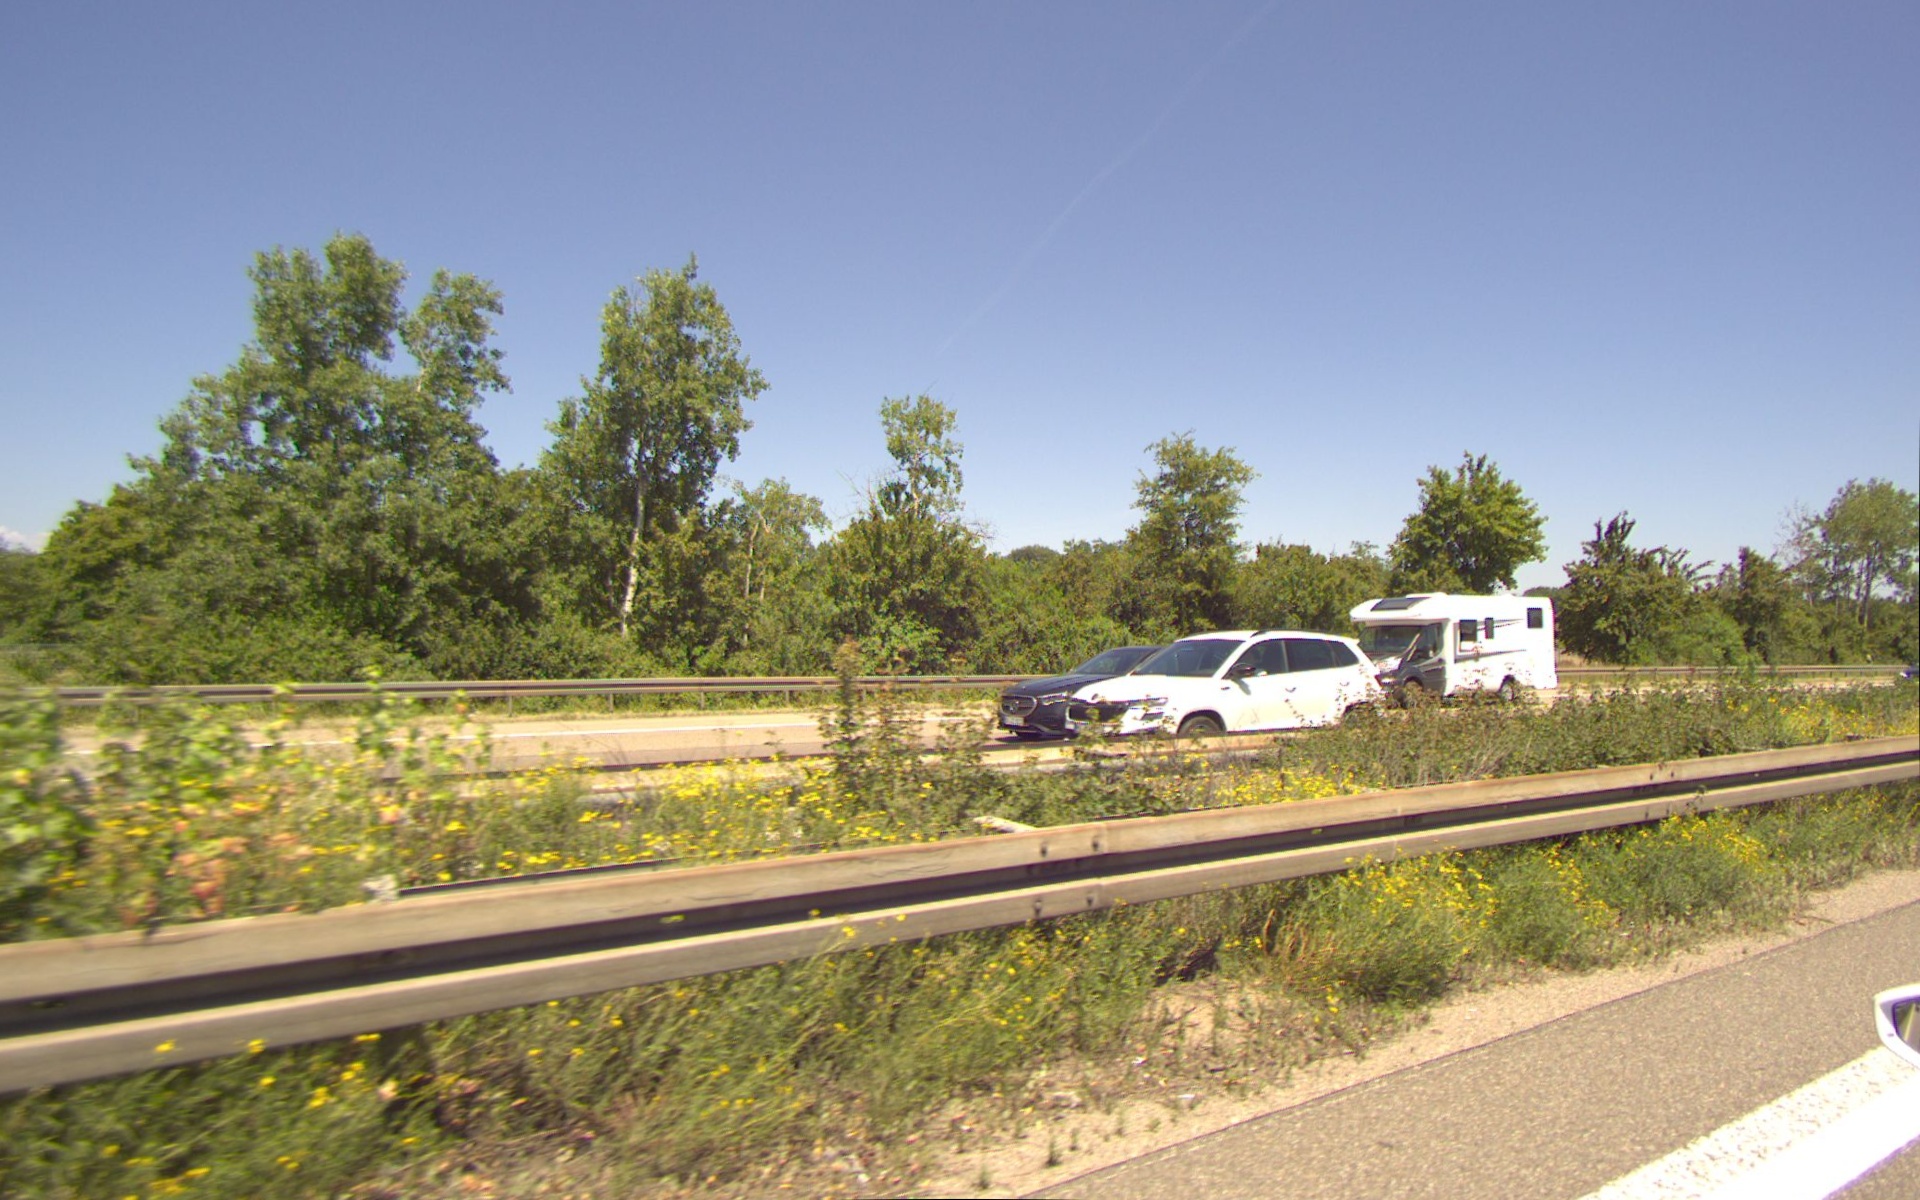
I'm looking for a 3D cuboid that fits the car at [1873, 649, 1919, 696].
[{"bbox_3d":[32.217,2.355,33.044,4.697,1.487,1.948,2,-3,-31],"label":"car"}]

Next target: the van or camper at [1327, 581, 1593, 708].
[{"bbox_3d":[13.502,1.216,26.962,7.360,3.008,2.837,2,-3,-30],"label":"van or camper"}]

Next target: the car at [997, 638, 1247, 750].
[{"bbox_3d":[2.624,1.393,15.973,3.830,1.572,1.804,2,-2,-37],"label":"car"}]

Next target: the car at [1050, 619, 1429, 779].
[{"bbox_3d":[3.454,1.152,12.172,4.538,1.635,1.726,2,-6,-31],"label":"car"}]
